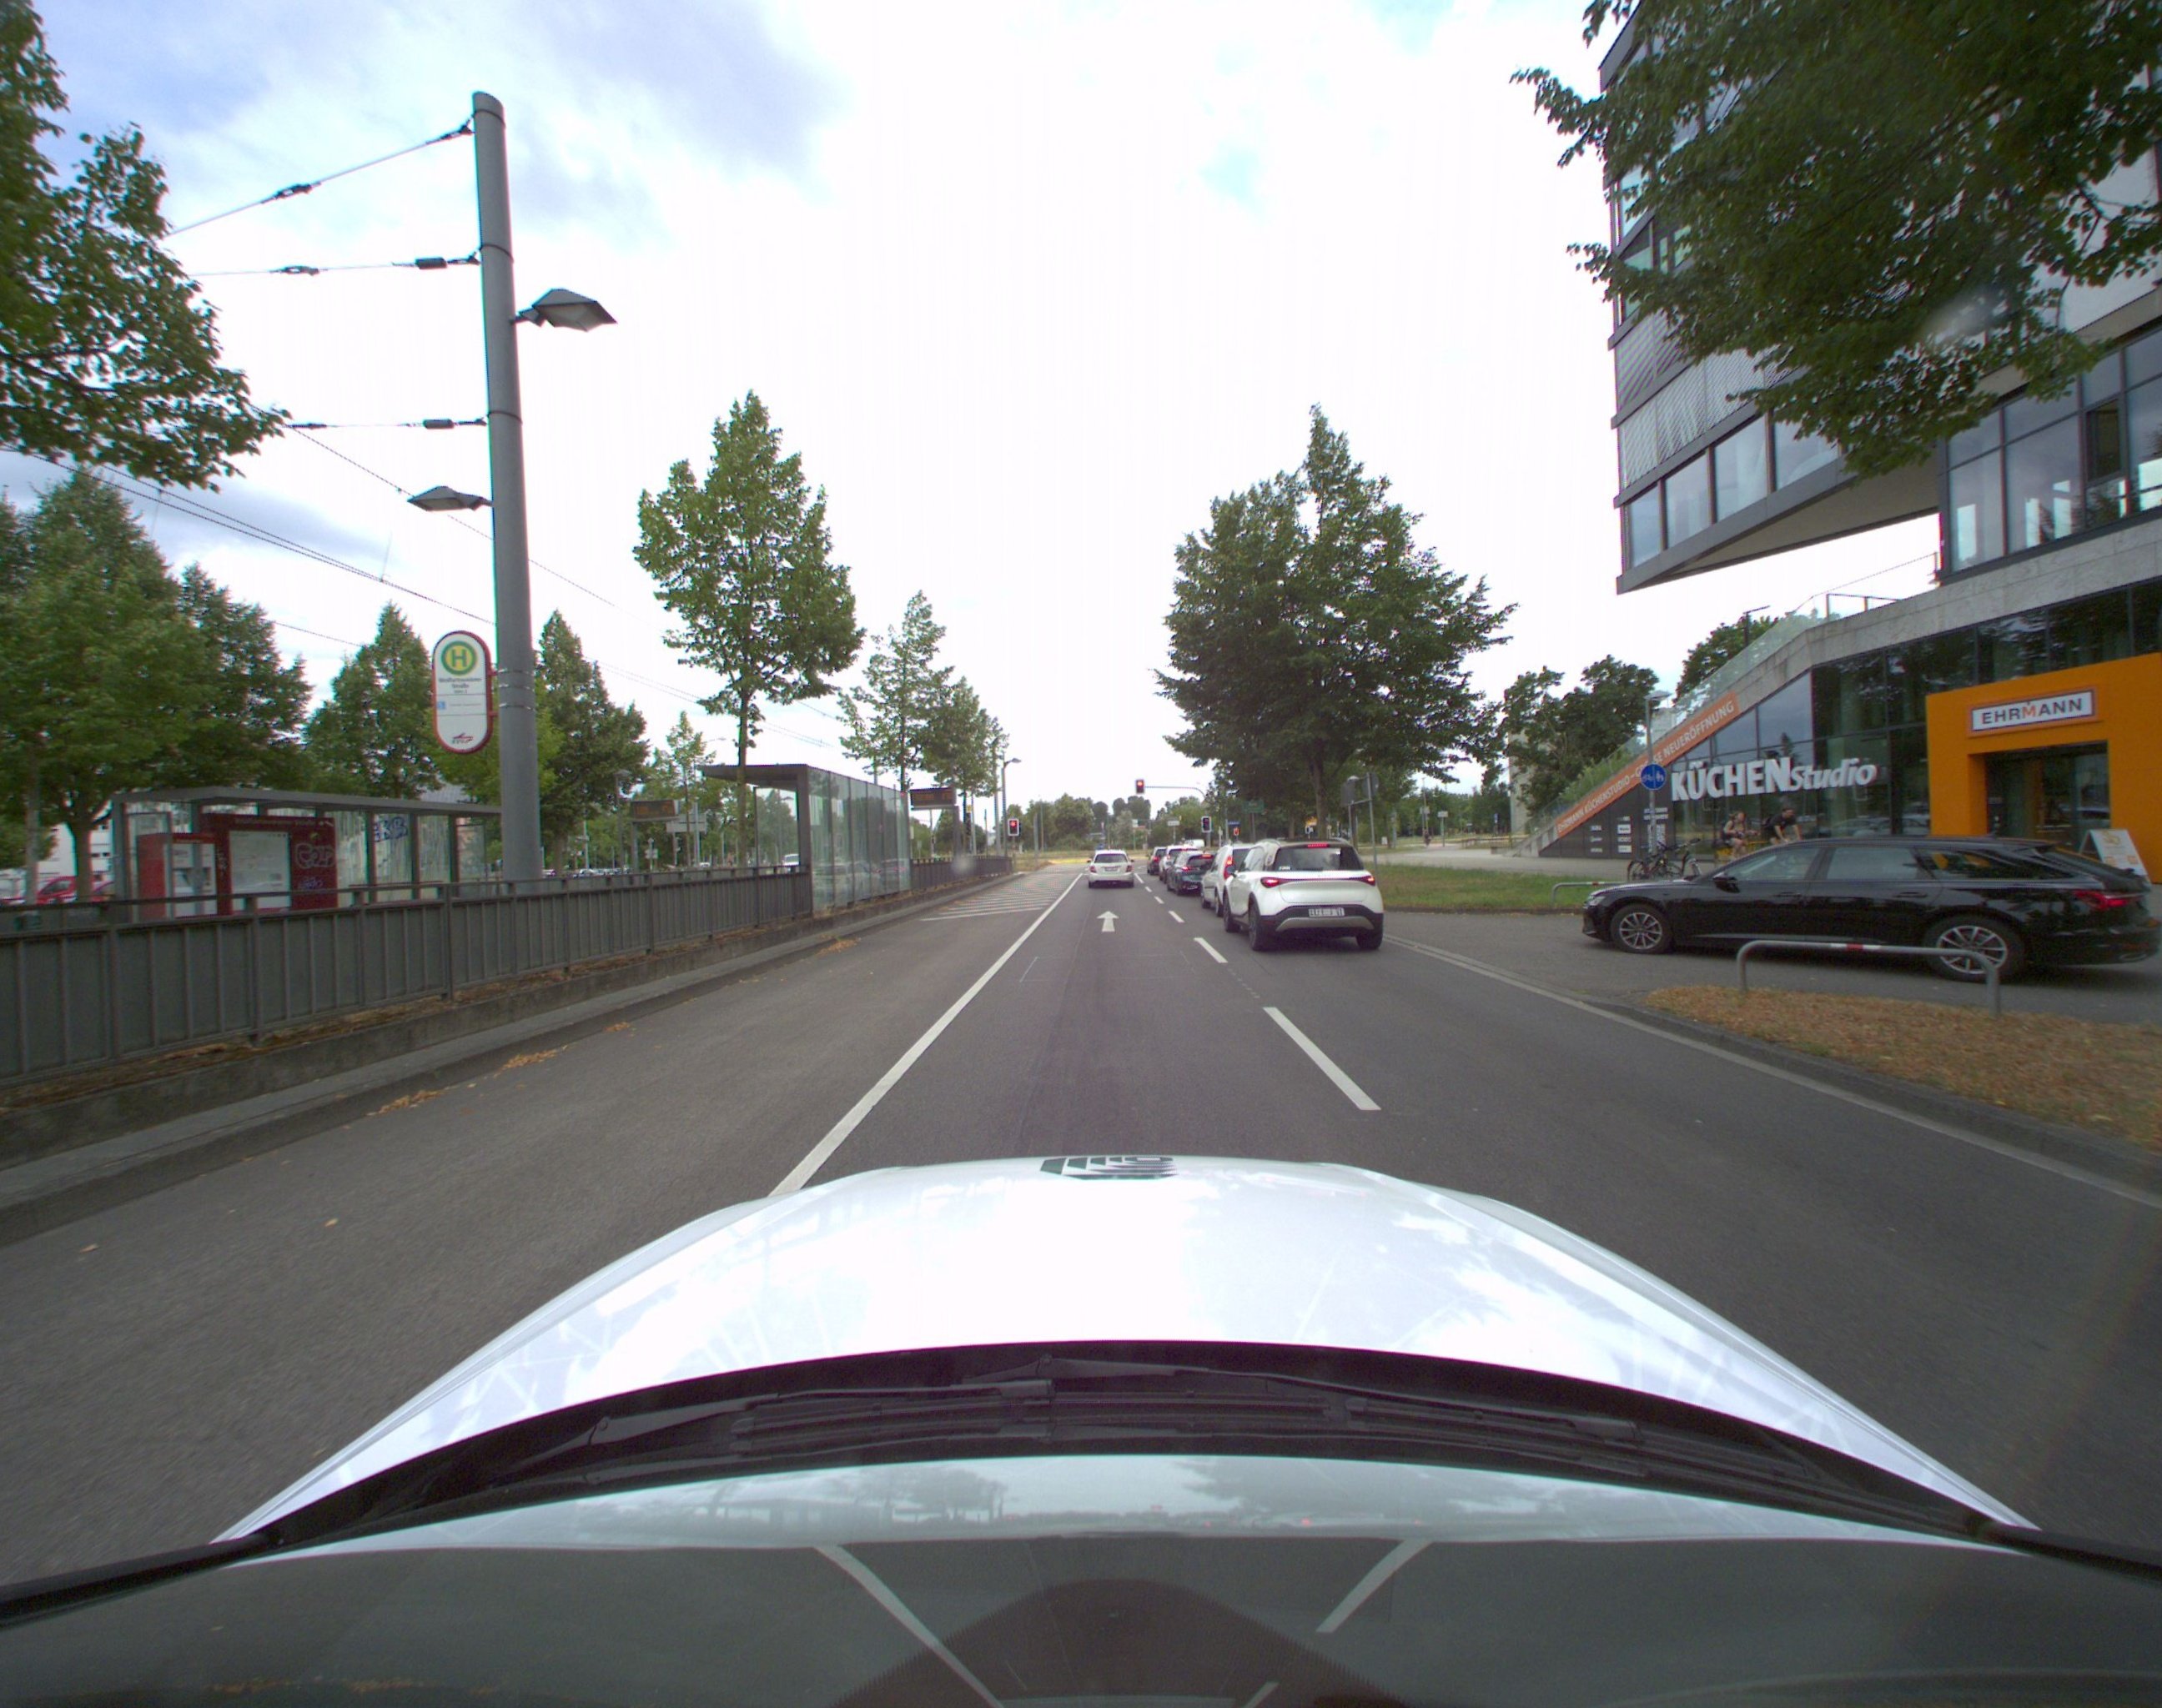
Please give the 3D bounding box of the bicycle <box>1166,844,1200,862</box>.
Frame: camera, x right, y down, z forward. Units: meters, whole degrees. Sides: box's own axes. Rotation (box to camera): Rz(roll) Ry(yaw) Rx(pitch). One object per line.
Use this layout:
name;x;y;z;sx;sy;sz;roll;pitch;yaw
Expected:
bicycle;6.135;-0.069;48.968;1.927;0.984;0.565;-2;0;0

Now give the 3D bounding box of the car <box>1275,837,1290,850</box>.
car;27.342;-1.472;110.664;1.771;1.636;4.416;-2;0;12

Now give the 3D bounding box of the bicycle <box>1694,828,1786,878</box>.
bicycle;16.126;-0.023;19.996;0.671;1.143;2.008;-2;0;2

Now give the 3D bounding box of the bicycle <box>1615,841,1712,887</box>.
bicycle;13.234;0.216;18.585;0.628;0.956;2.106;-2;0;-2

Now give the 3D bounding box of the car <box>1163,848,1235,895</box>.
car;3.885;0.526;27.511;1.781;1.432;4.310;-2;0;0

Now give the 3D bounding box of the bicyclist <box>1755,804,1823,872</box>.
bicyclist;17.294;-0.385;19.924;0.722;1.582;0.990;-4;0;2

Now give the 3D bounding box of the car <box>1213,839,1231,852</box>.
car;20.238;-1.161;116.722;1.986;1.791;4.001;0;0;1

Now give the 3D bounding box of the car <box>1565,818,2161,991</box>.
car;8.730;0.450;9.594;1.955;1.475;4.820;-2;0;-33

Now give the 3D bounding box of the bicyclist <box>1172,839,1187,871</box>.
bicyclist;5.907;0.068;48.850;0.726;1.885;0.734;-2;3;0

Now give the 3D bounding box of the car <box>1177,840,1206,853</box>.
car;18.142;-1.254;133.603;5.029;2.013;1.975;-3;1;-45

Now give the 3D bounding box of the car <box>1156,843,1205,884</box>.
car;4.290;0.367;35.581;1.780;1.624;3.913;-2;0;2

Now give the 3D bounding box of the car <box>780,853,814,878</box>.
car;-19.938;0.786;57.344;1.998;1.618;4.359;-2;0;-17

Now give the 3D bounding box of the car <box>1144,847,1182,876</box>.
car;4.336;0.363;43.476;1.619;1.448;3.910;-1;0;0

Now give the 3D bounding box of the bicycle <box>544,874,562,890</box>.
bicycle;-38.469;2.009;59.297;0.813;1.129;2.676;-3;1;-39

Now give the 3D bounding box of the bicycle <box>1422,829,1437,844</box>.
bicycle;35.609;-1.765;83.237;0.702;1.505;2.007;0;0;0

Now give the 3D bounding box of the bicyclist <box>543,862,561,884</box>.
bicyclist;-38.554;1.385;59.340;0.896;1.562;0.741;-2;0;-42

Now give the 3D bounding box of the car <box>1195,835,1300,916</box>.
car;3.825;0.451;19.378;1.772;1.656;4.026;-2;0;2

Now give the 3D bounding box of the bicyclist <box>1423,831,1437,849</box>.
bicyclist;35.603;-1.427;83.089;0.863;1.789;1.175;-4;0;1

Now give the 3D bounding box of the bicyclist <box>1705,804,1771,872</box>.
bicyclist;16.095;-0.387;19.977;0.722;1.582;0.990;-4;0;2

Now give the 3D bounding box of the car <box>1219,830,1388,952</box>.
car;3.382;0.485;13.151;1.772;1.656;4.026;0;1;2

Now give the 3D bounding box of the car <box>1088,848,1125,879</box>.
car;1.226;0.418;40.723;1.768;1.448;3.910;-1;0;0

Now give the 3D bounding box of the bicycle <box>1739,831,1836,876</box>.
bicycle;17.360;-0.017;20.082;0.671;1.042;2.008;-2;0;2

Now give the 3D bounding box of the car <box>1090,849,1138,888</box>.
car;1.243;0.534;32.504;1.768;1.448;3.910;-1;0;0
